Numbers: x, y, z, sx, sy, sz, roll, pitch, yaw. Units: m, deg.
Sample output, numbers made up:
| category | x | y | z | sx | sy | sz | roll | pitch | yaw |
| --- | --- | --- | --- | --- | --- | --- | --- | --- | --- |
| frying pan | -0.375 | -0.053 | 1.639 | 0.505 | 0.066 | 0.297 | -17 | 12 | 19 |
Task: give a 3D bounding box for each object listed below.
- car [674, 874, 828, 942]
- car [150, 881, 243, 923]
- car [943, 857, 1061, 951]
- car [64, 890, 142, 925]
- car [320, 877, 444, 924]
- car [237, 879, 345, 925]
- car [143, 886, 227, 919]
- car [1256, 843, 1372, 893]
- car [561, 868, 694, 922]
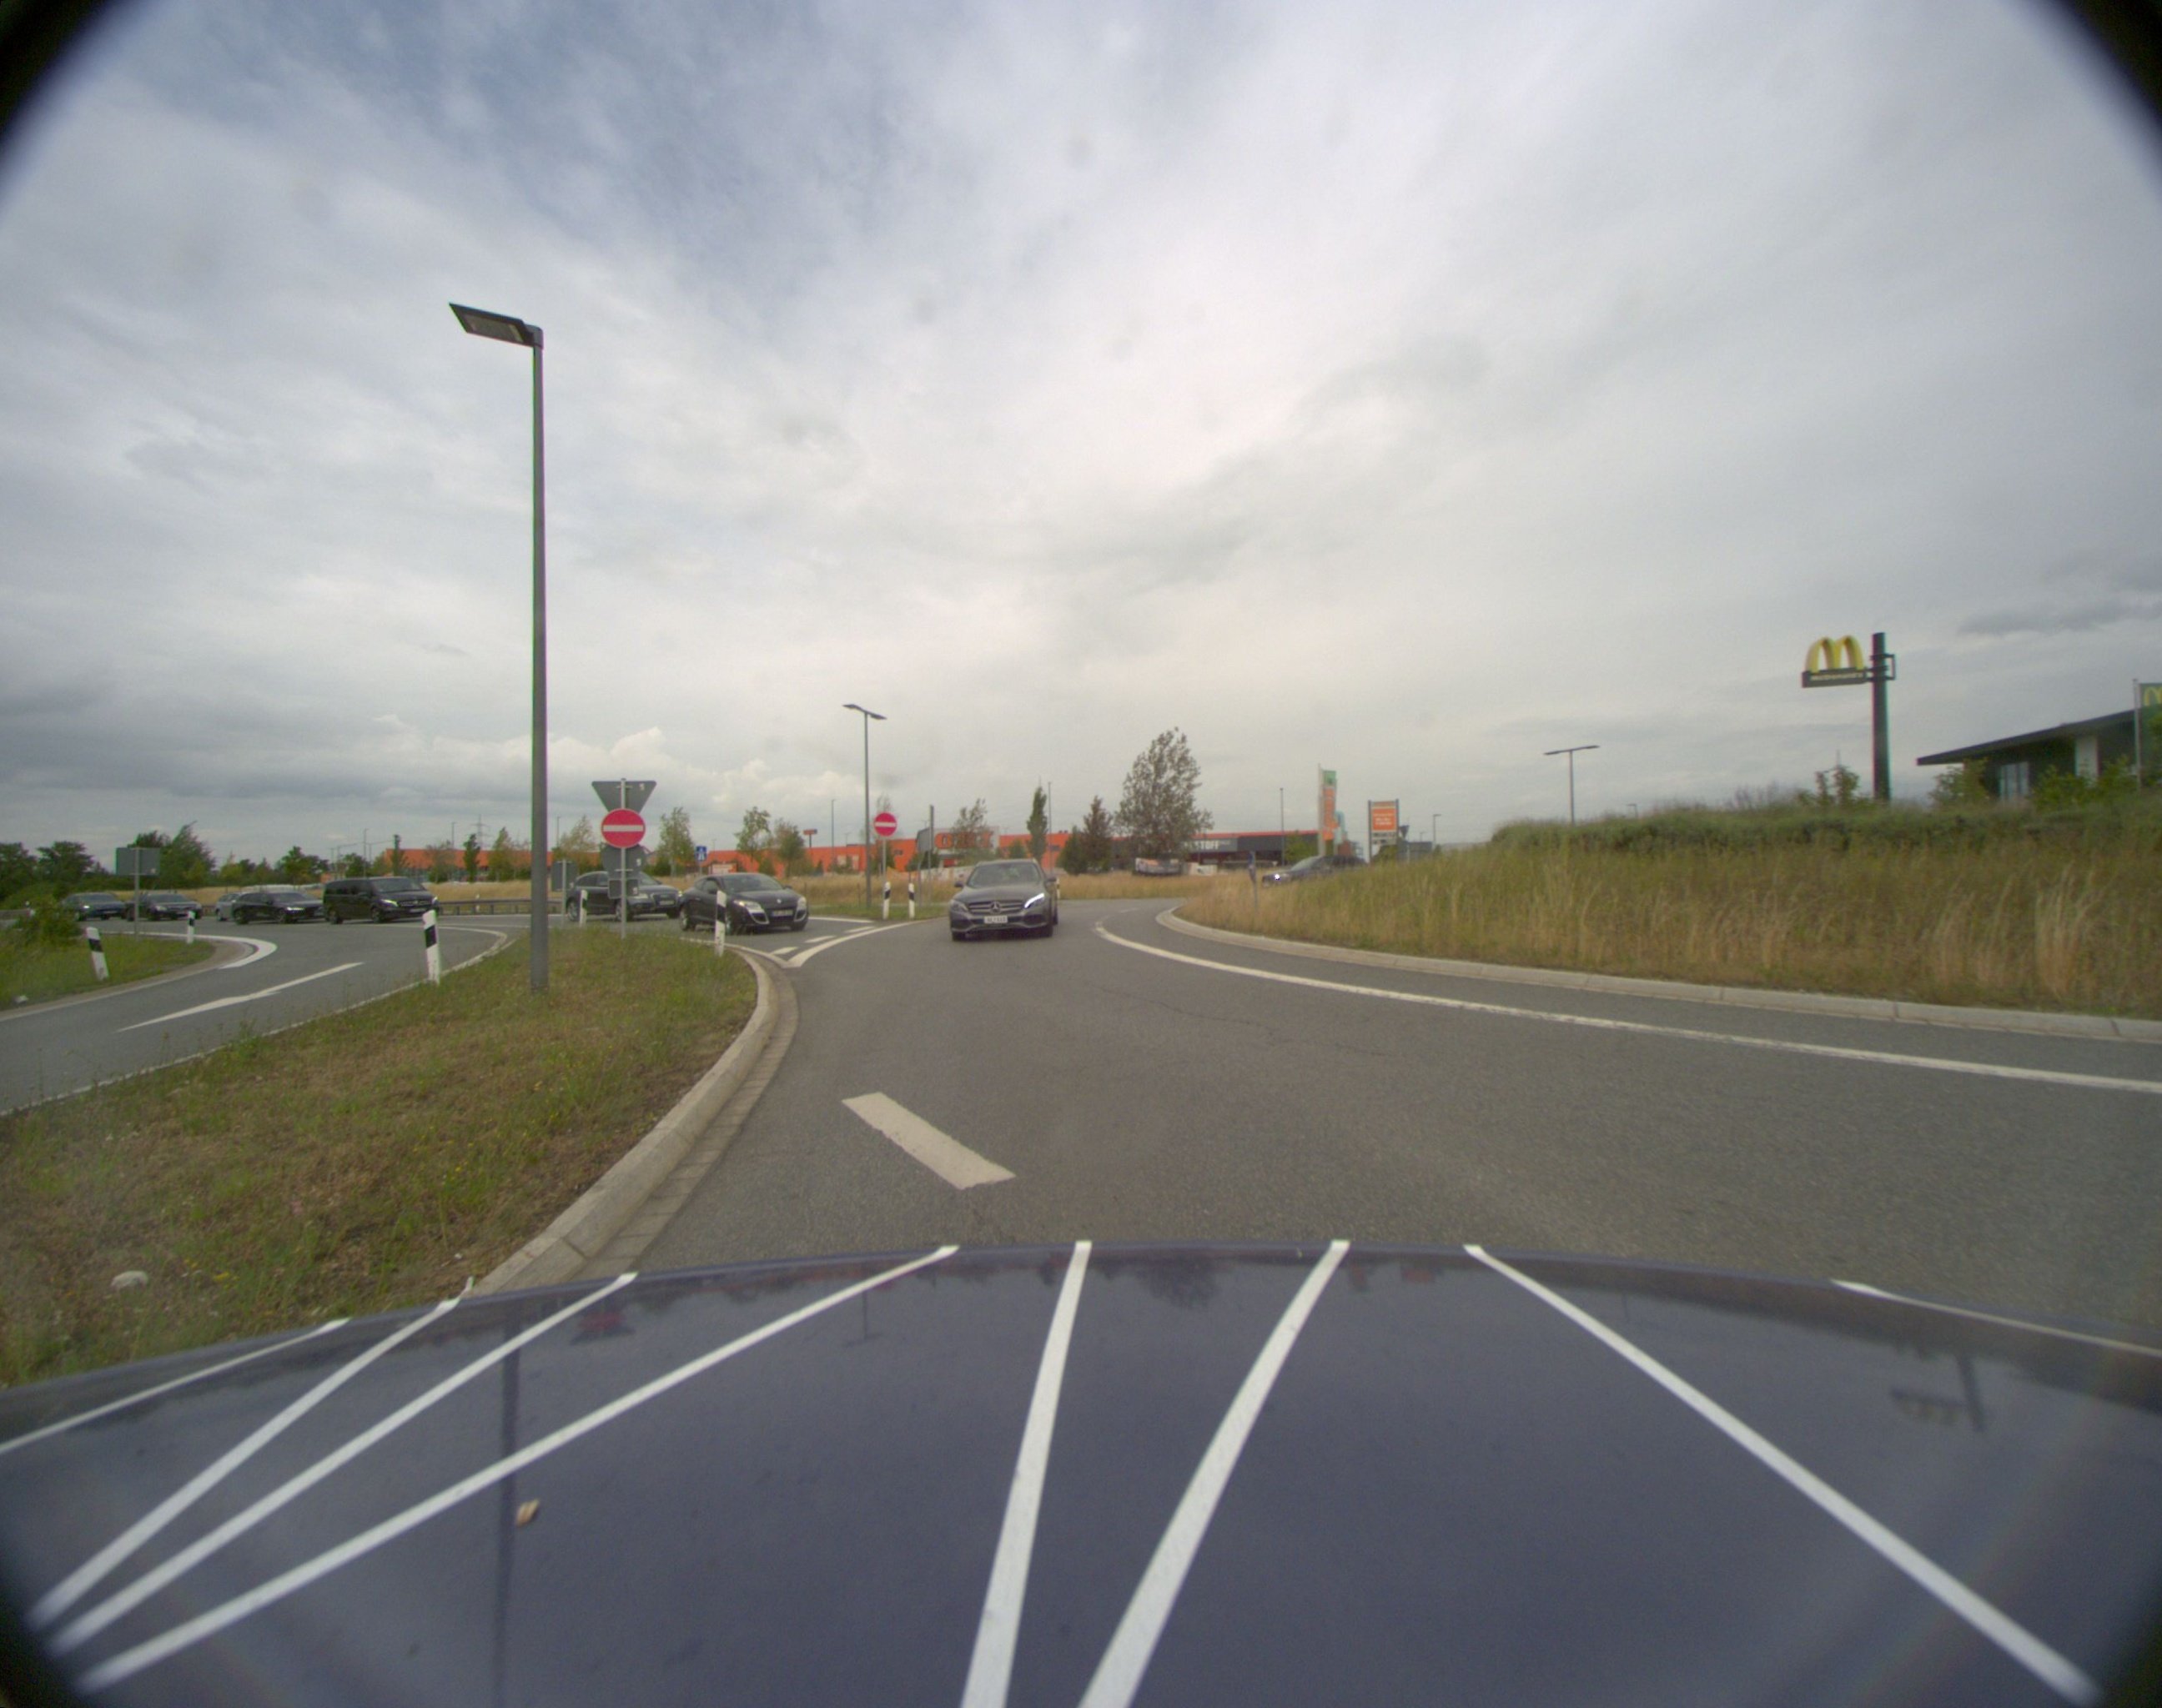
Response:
| category | x | y | z | sx | sy | sz | roll | pitch | yaw |
| --- | --- | --- | --- | --- | --- | --- | --- | --- | --- |
| car | -7.965 | 1.210 | 18.166 | 4.133 | 1.362 | 1.847 | -2 | 0 | 43 |
| car | -42.890 | 2.305 | 36.842 | 3.990 | 1.871 | 1.809 | -2 | 0 | 24 |
| car | -1.404 | 0.876 | 14.980 | 1.906 | 1.488 | 4.338 | -3 | -1 | -2 |
| car | -57.496 | 3.150 | 44.674 | 3.991 | 1.871 | 1.766 | -2 | 0 | 23 |
| car | -28.043 | 1.858 | 30.477 | 4.735 | 1.711 | 1.725 | -2 | 0 | 22 |
| car | -34.913 | 2.102 | 33.588 | 3.991 | 1.871 | 1.809 | -2 | 0 | 21 |
| car | -48.761 | 2.634 | 41.356 | 3.991 | 1.654 | 1.766 | -2 | 0 | 22 |
| car | 9.414 | 0.598 | 30.916 | 3.999 | 1.708 | 1.843 | -3 | -2 | -7 |
| car | -15.011 | 1.338 | 25.122 | 4.265 | 1.573 | 1.887 | -2 | 0 | 30 |
